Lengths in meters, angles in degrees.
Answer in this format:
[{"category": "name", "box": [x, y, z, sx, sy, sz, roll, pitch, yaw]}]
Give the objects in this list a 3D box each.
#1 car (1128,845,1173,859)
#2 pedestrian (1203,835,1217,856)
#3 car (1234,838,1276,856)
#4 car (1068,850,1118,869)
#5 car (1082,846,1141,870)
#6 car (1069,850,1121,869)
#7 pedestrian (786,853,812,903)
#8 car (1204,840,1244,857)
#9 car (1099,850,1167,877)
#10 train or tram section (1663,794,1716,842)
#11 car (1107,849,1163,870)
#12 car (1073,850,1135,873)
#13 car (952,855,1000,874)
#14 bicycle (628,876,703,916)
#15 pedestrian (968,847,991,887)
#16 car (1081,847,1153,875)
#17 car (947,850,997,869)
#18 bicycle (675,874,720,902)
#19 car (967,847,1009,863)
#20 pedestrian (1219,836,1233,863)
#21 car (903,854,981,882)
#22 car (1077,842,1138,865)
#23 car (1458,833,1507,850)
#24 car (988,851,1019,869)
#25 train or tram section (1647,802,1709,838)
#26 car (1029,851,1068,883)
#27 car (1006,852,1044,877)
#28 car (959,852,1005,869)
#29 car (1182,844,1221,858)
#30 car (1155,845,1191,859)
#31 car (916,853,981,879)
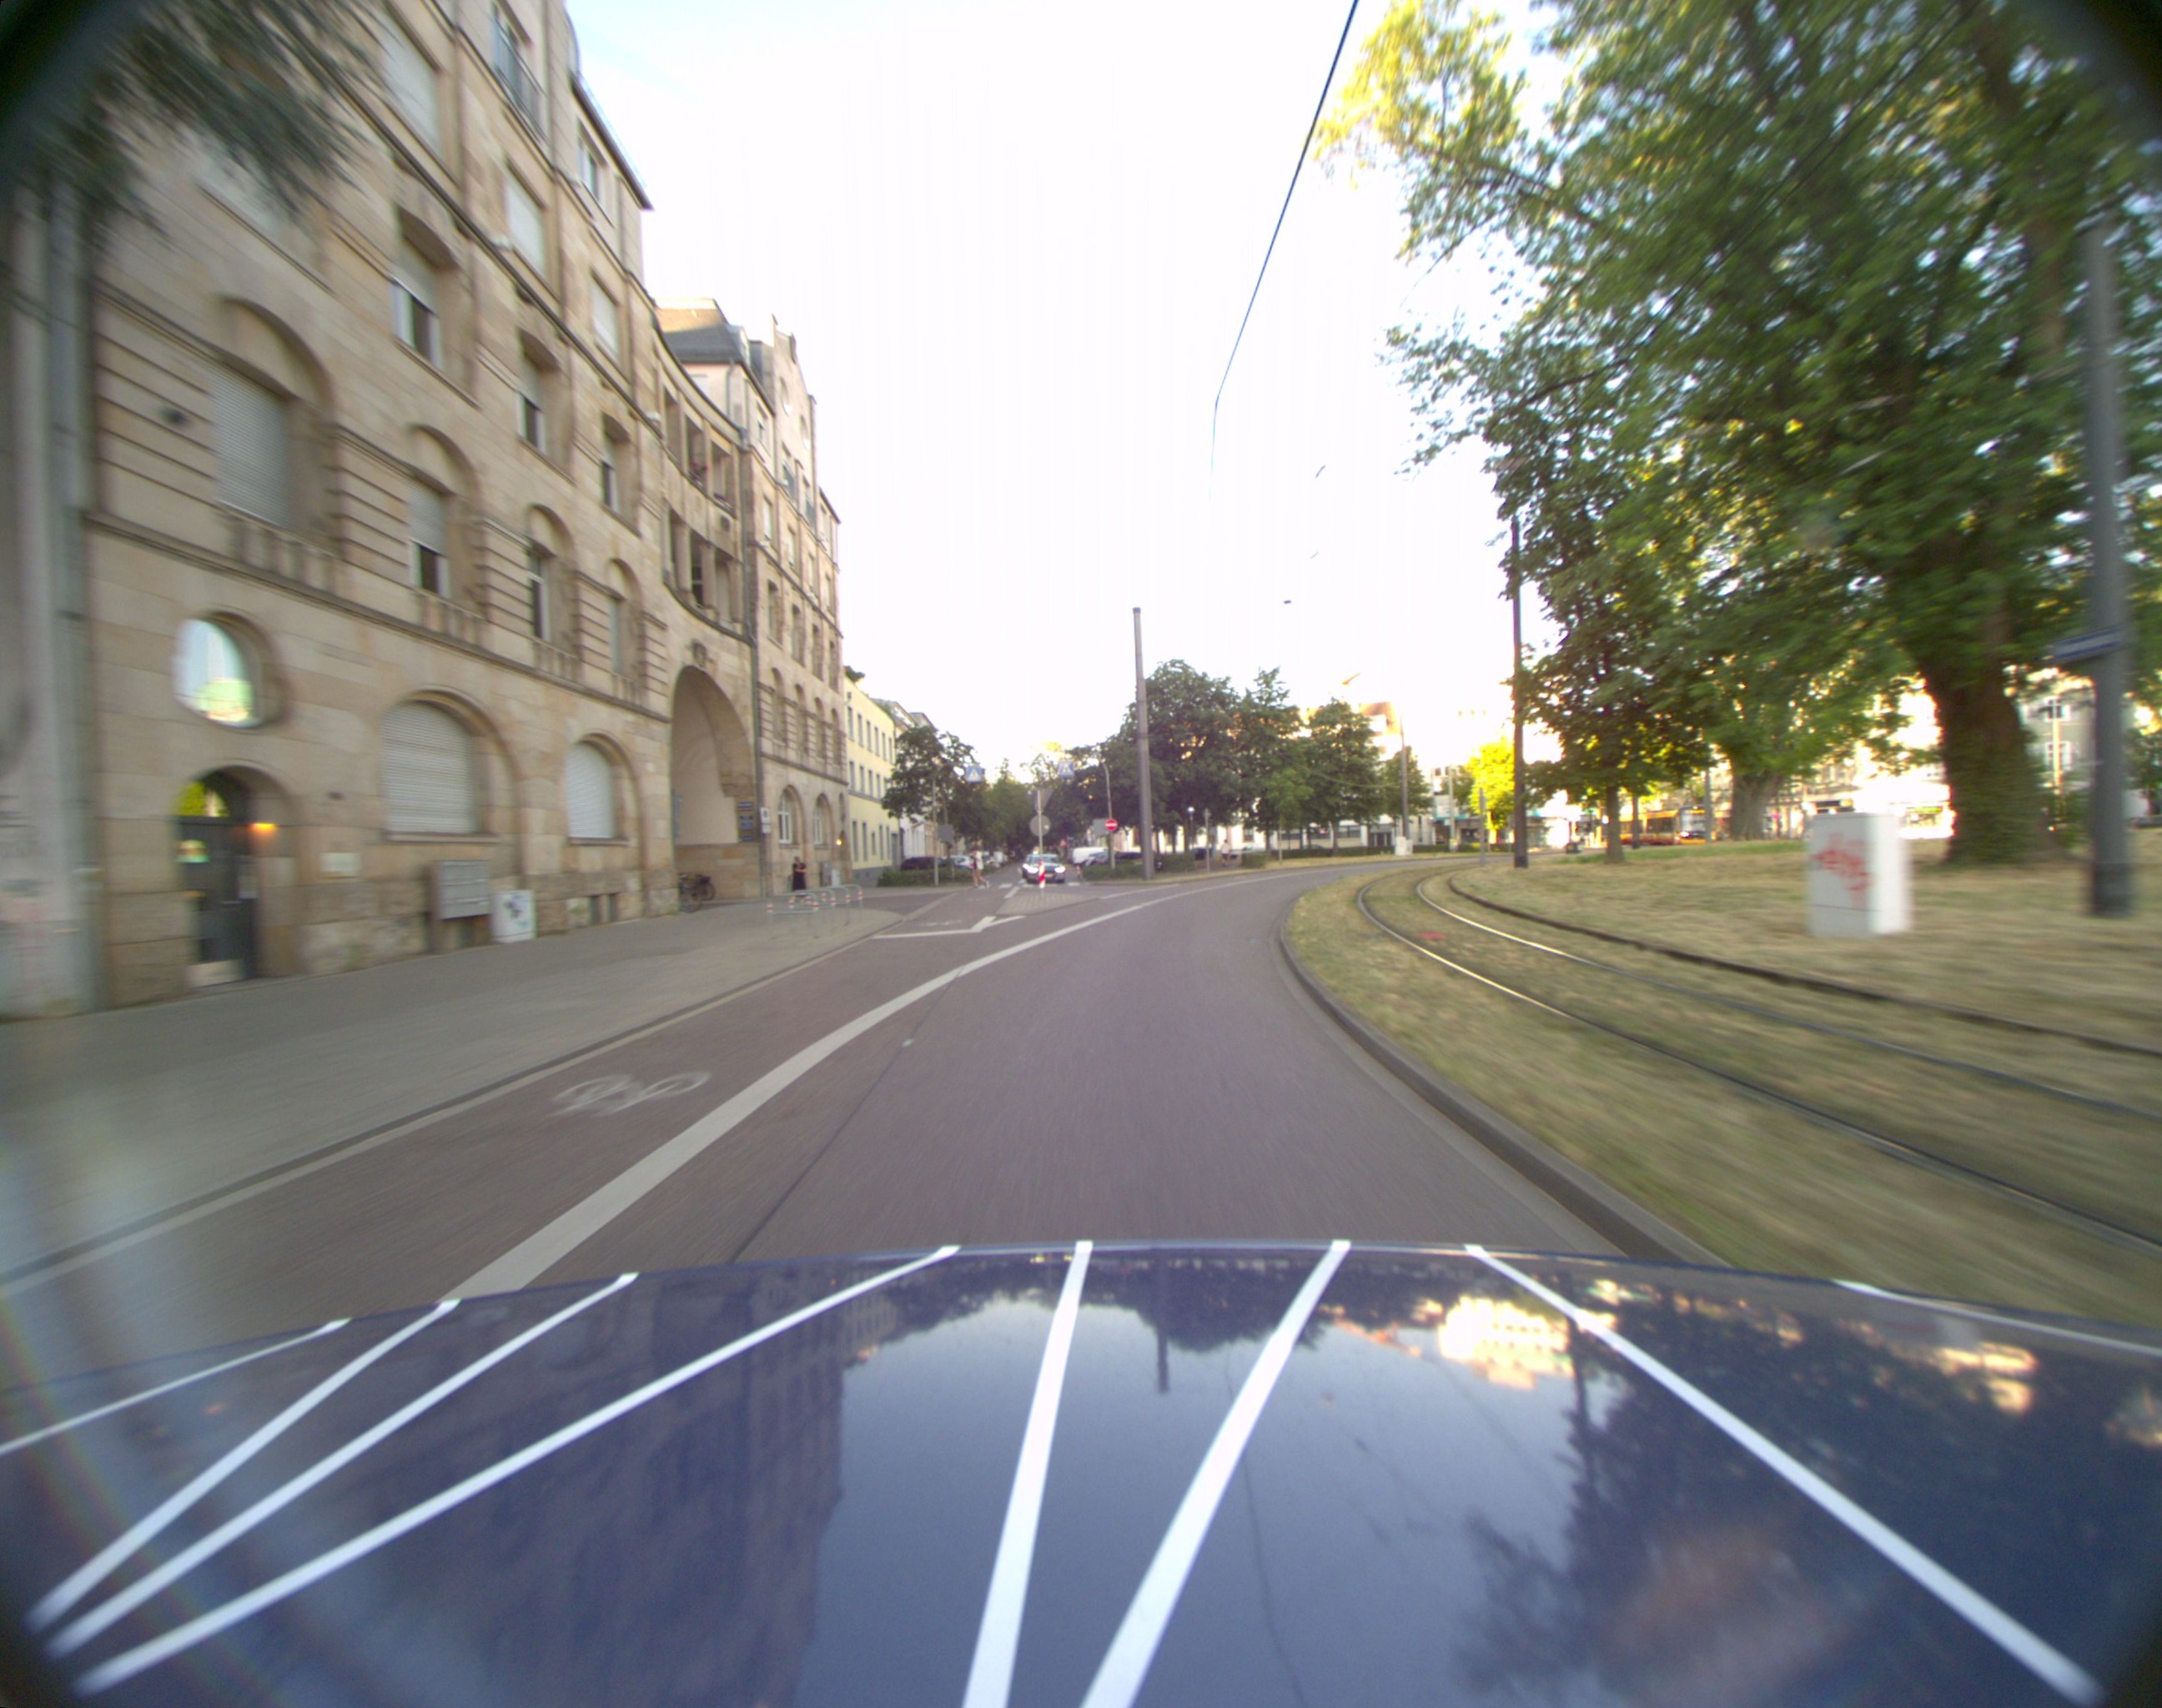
[{"category": "car", "box": [7.386, -0.189, 80.765, 4.387, 1.411, 1.730, -2, 0, 17]}, {"category": "pedestrian", "box": [12.196, -0.826, 72.013, 1.011, 2.002, 0.827, -2, 0, -42]}, {"category": "car", "box": [17.781, -0.673, 77.472, 4.005, 1.714, 1.703, -2, 0, 17]}, {"category": "car", "box": [1.091, 0.469, 66.535, 4.061, 1.542, 2.002, -2, 0, 12]}, {"category": "car", "box": [2.259, 0.266, 55.786, 4.061, 1.608, 2.002, -2, 0, 12]}, {"category": "car", "box": [1.184, 0.469, 64.289, 4.061, 1.542, 2.002, -2, 0, 12]}, {"category": "pedestrian", "box": [-9.727, 0.818, 26.234, 0.577, 1.699, 0.721, -2, 0, 1]}, {"category": "car", "box": [15.677, -0.625, 83.374, 4.005, 1.714, 1.704, -2, 0, 19]}, {"category": "car", "box": [3.298, 0.610, 47.865, 4.061, 1.547, 1.867, -2, 0, 12]}, {"category": "train or tram section", "box": [51.447, -3.058, 64.537, 2.942, 3.564, 13.391, -2, 1, 36]}, {"category": "car", "box": [4.194, 0.432, 58.768, 4.061, 1.542, 2.002, -2, 0, 12]}, {"category": "car", "box": [1.631, 0.521, 53.667, 4.061, 1.542, 2.002, -2, 0, 12]}, {"category": "car", "box": [-9.301, 0.931, 67.514, 4.066, 1.542, 1.999, -2, 0, -4]}, {"category": "bicycle", "box": [-11.861, 1.205, 21.713, 1.855, 1.066, 0.429, -2, 0, -4]}, {"category": "pedestrian", "box": [-4.519, 0.577, 33.859, 0.591, 1.781, 0.823, -1, 0, 29]}, {"category": "car", "box": [2.191, 0.434, 45.863, 4.061, 1.547, 1.867, -2, 0, 12]}, {"category": "car", "box": [-9.359, 0.473, 65.270, 4.066, 1.542, 1.999, -2, 0, -4]}, {"category": "bicycle", "box": [-14.220, 1.244, 28.163, 1.441, 0.980, 0.360, -2, 0, -4]}, {"category": "car", "box": [-10.236, 0.098, 83.693, 4.397, 1.603, 1.729, -2, 0, -4]}, {"category": "pedestrian", "box": [9.353, -0.275, 48.973, 0.768, 1.705, 0.786, -2, 0, 17]}, {"category": "car", "box": [-8.411, 0.834, 46.379, 4.396, 1.549, 1.837, -2, 0, -2]}, {"category": "car", "box": [2.435, -0.024, 69.080, 5.071, 1.891, 2.124, -2, 0, 20]}, {"category": "car", "box": [39.645, -1.227, 75.162, 3.992, 1.441, 1.851, -2, 0, 17]}, {"category": "car", "box": [-10.355, 0.806, 101.640, 4.066, 2.280, 1.999, -2, 0, -4]}, {"category": "train or tram section", "box": [58.837, -3.371, 75.217, 2.924, 3.123, 12.878, -2, 1, 30]}, {"category": "car", "box": [-1.692, 0.638, 38.633, 1.820, 1.473, 4.134, -2, 0, -4]}, {"category": "car", "box": [-3.495, 0.637, 47.959, 1.819, 1.473, 4.136, -2, 0, 3]}, {"category": "car", "box": [-9.836, 0.667, 75.943, 4.061, 1.542, 2.002, -2, 0, 12]}, {"category": "car", "box": [12.615, -0.284, 79.251, 3.776, 1.328, 1.730, -2, 0, 17]}, {"category": "car", "box": [10.314, -0.193, 85.336, 3.669, 1.441, 1.704, -2, 0, 19]}, {"category": "car", "box": [-8.916, 0.799, 51.410, 4.065, 1.561, 1.837, -2, 0, -1]}]
